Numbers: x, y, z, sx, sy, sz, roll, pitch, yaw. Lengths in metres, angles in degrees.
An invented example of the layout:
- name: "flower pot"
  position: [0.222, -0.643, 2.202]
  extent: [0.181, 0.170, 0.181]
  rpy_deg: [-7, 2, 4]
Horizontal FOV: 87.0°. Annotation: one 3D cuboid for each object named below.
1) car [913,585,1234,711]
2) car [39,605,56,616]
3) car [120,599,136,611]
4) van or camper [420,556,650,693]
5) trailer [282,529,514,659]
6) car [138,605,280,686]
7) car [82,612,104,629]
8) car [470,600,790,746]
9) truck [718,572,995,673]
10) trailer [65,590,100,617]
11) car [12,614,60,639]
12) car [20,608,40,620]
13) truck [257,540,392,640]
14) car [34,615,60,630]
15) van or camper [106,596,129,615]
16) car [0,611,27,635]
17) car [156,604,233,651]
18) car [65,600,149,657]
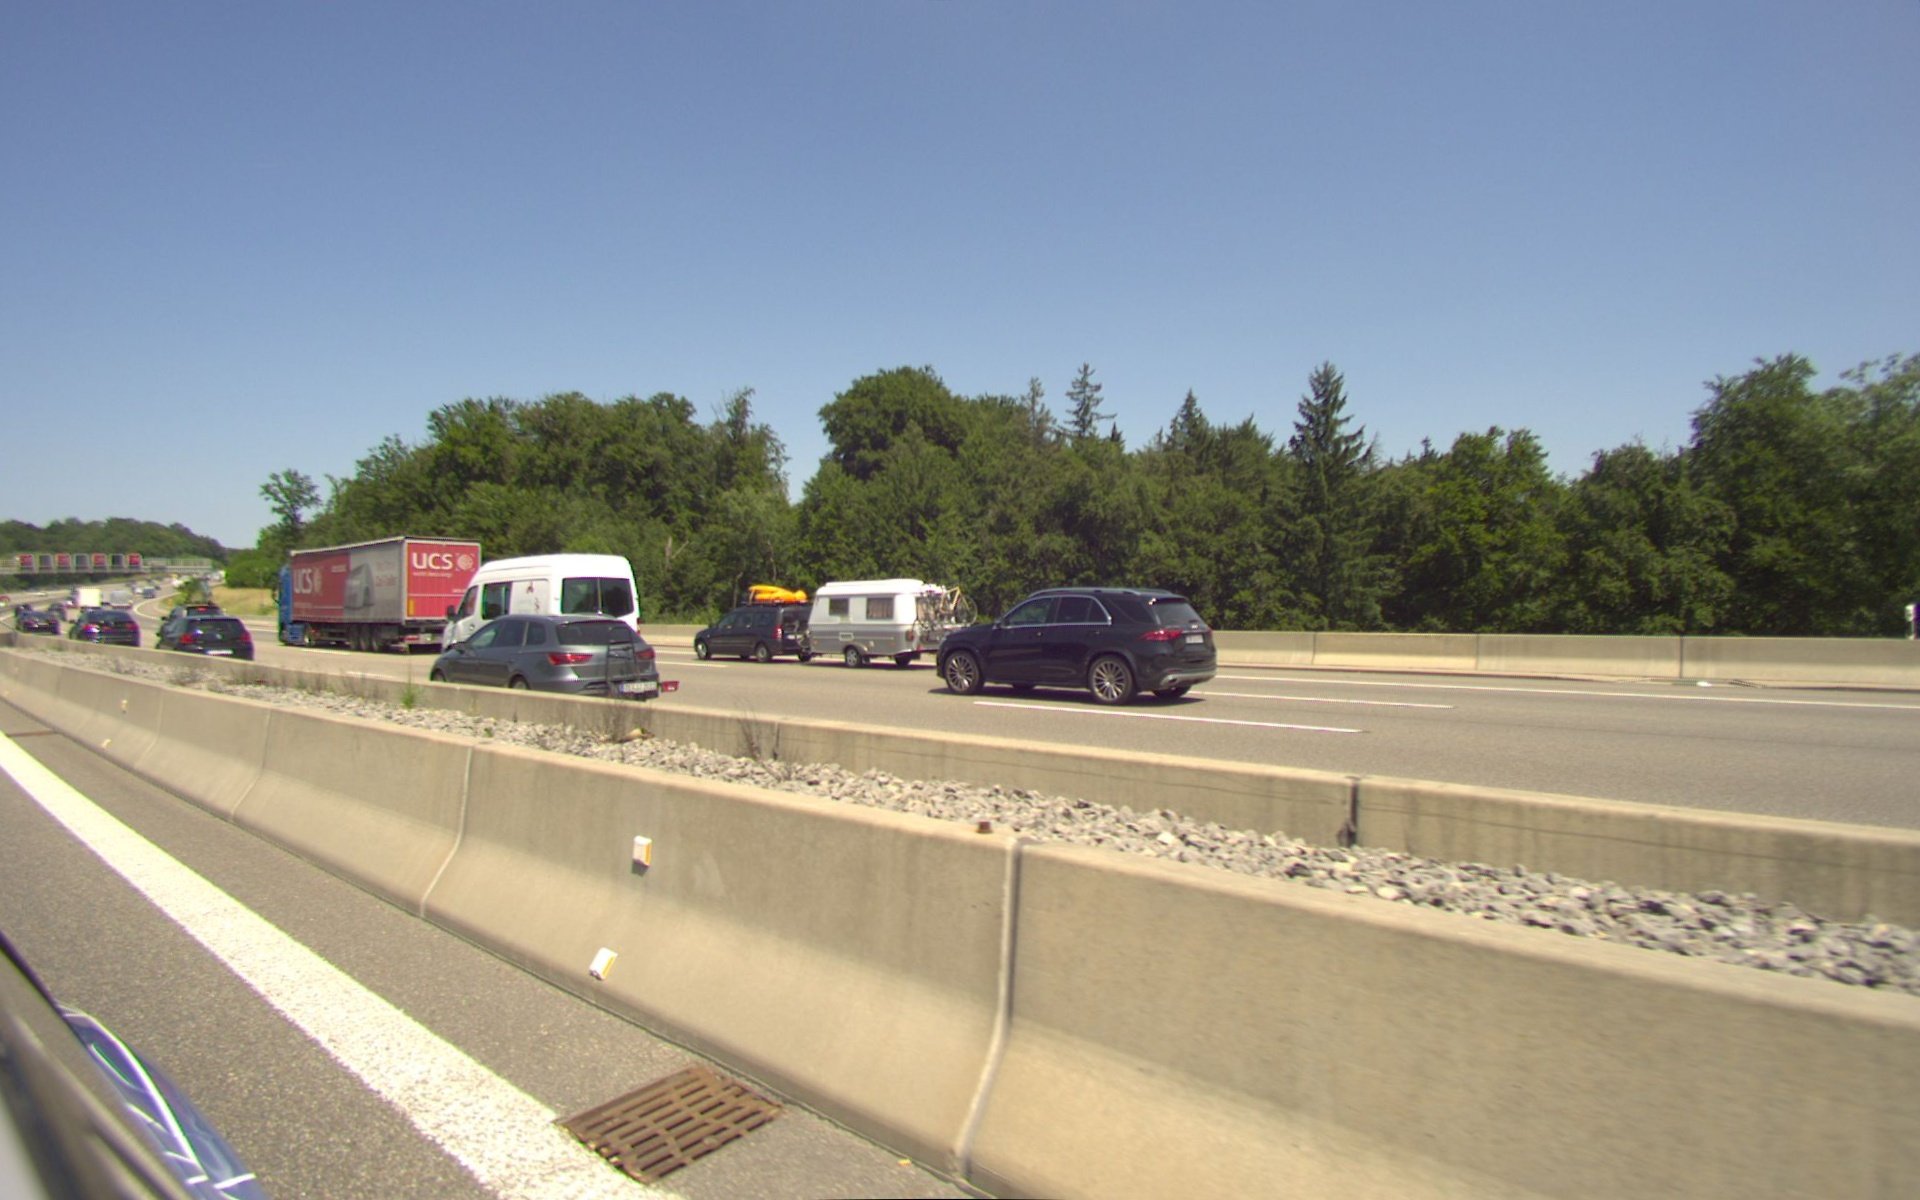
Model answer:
- name: "car"
  position: [1.717, 0.697, 16.696]
  extent: [5.067, 1.775, 1.972]
  rpy_deg: [-1, -1, 42]
- name: "car"
  position: [-144.378, 1.642, 160.067]
  extent: [1.741, 1.531, 4.365]
  rpy_deg: [-1, 2, -45]
- name: "car"
  position: [-156.618, 0.946, 190.436]
  extent: [4.002, 2.028, 1.971]
  rpy_deg: [2, 2, 45]
- name: "van or camper"
  position: [-9.386, 0.486, 21.976]
  extent: [6.398, 2.585, 2.077]
  rpy_deg: [-1, -1, 42]
- name: "trailer"
  position: [-22.688, -0.105, 40.128]
  extent: [14.477, 4.312, 3.794]
  rpy_deg: [-1, -1, 43]
- name: "car"
  position: [-19.592, 1.086, 26.304]
  extent: [5.195, 1.736, 1.972]
  rpy_deg: [1, 2, 42]
- name: "car"
  position: [-109.119, 2.559, 127.398]
  extent: [1.969, 2.028, 4.005]
  rpy_deg: [-1, 2, -42]
- name: "car"
  position: [-4.391, 0.783, 12.994]
  extent: [4.823, 1.521, 1.750]
  rpy_deg: [0, 1, 42]
- name: "truck"
  position: [-3.040, 0.485, 26.583]
  extent: [8.826, 2.271, 2.024]
  rpy_deg: [0, 1, 44]
- name: "trailer"
  position: [-145.658, 0.579, 167.913]
  extent: [13.960, 4.294, 2.833]
  rpy_deg: [0, 0, 43]
- name: "car"
  position: [-60.413, 1.696, 66.129]
  extent: [5.133, 1.530, 1.935]
  rpy_deg: [-1, 0, 43]
- name: "car"
  position: [-130.150, 1.904, 141.602]
  extent: [1.971, 1.680, 4.437]
  rpy_deg: [0, 0, -45]
- name: "truck"
  position: [-28.928, -0.428, 46.002]
  extent: [5.878, 4.208, 3.745]
  rpy_deg: [0, 1, 43]
- name: "car"
  position: [-100.126, 2.489, 110.982]
  extent: [4.638, 1.647, 1.735]
  rpy_deg: [-2, -1, 43]
- name: "van or camper"
  position: [-150.343, 0.985, 180.490]
  extent: [2.732, 3.148, 8.103]
  rpy_deg: [-1, 2, -43]
- name: "car"
  position: [-70.744, 1.693, 75.192]
  extent: [4.523, 1.529, 1.833]
  rpy_deg: [2, 1, 44]
- name: "car"
  position: [-34.171, 1.192, 45.116]
  extent: [4.784, 1.982, 1.972]
  rpy_deg: [-1, -1, 43]
- name: "car"
  position: [-33.565, 1.052, 39.781]
  extent: [3.999, 2.028, 1.972]
  rpy_deg: [1, 2, 42]
